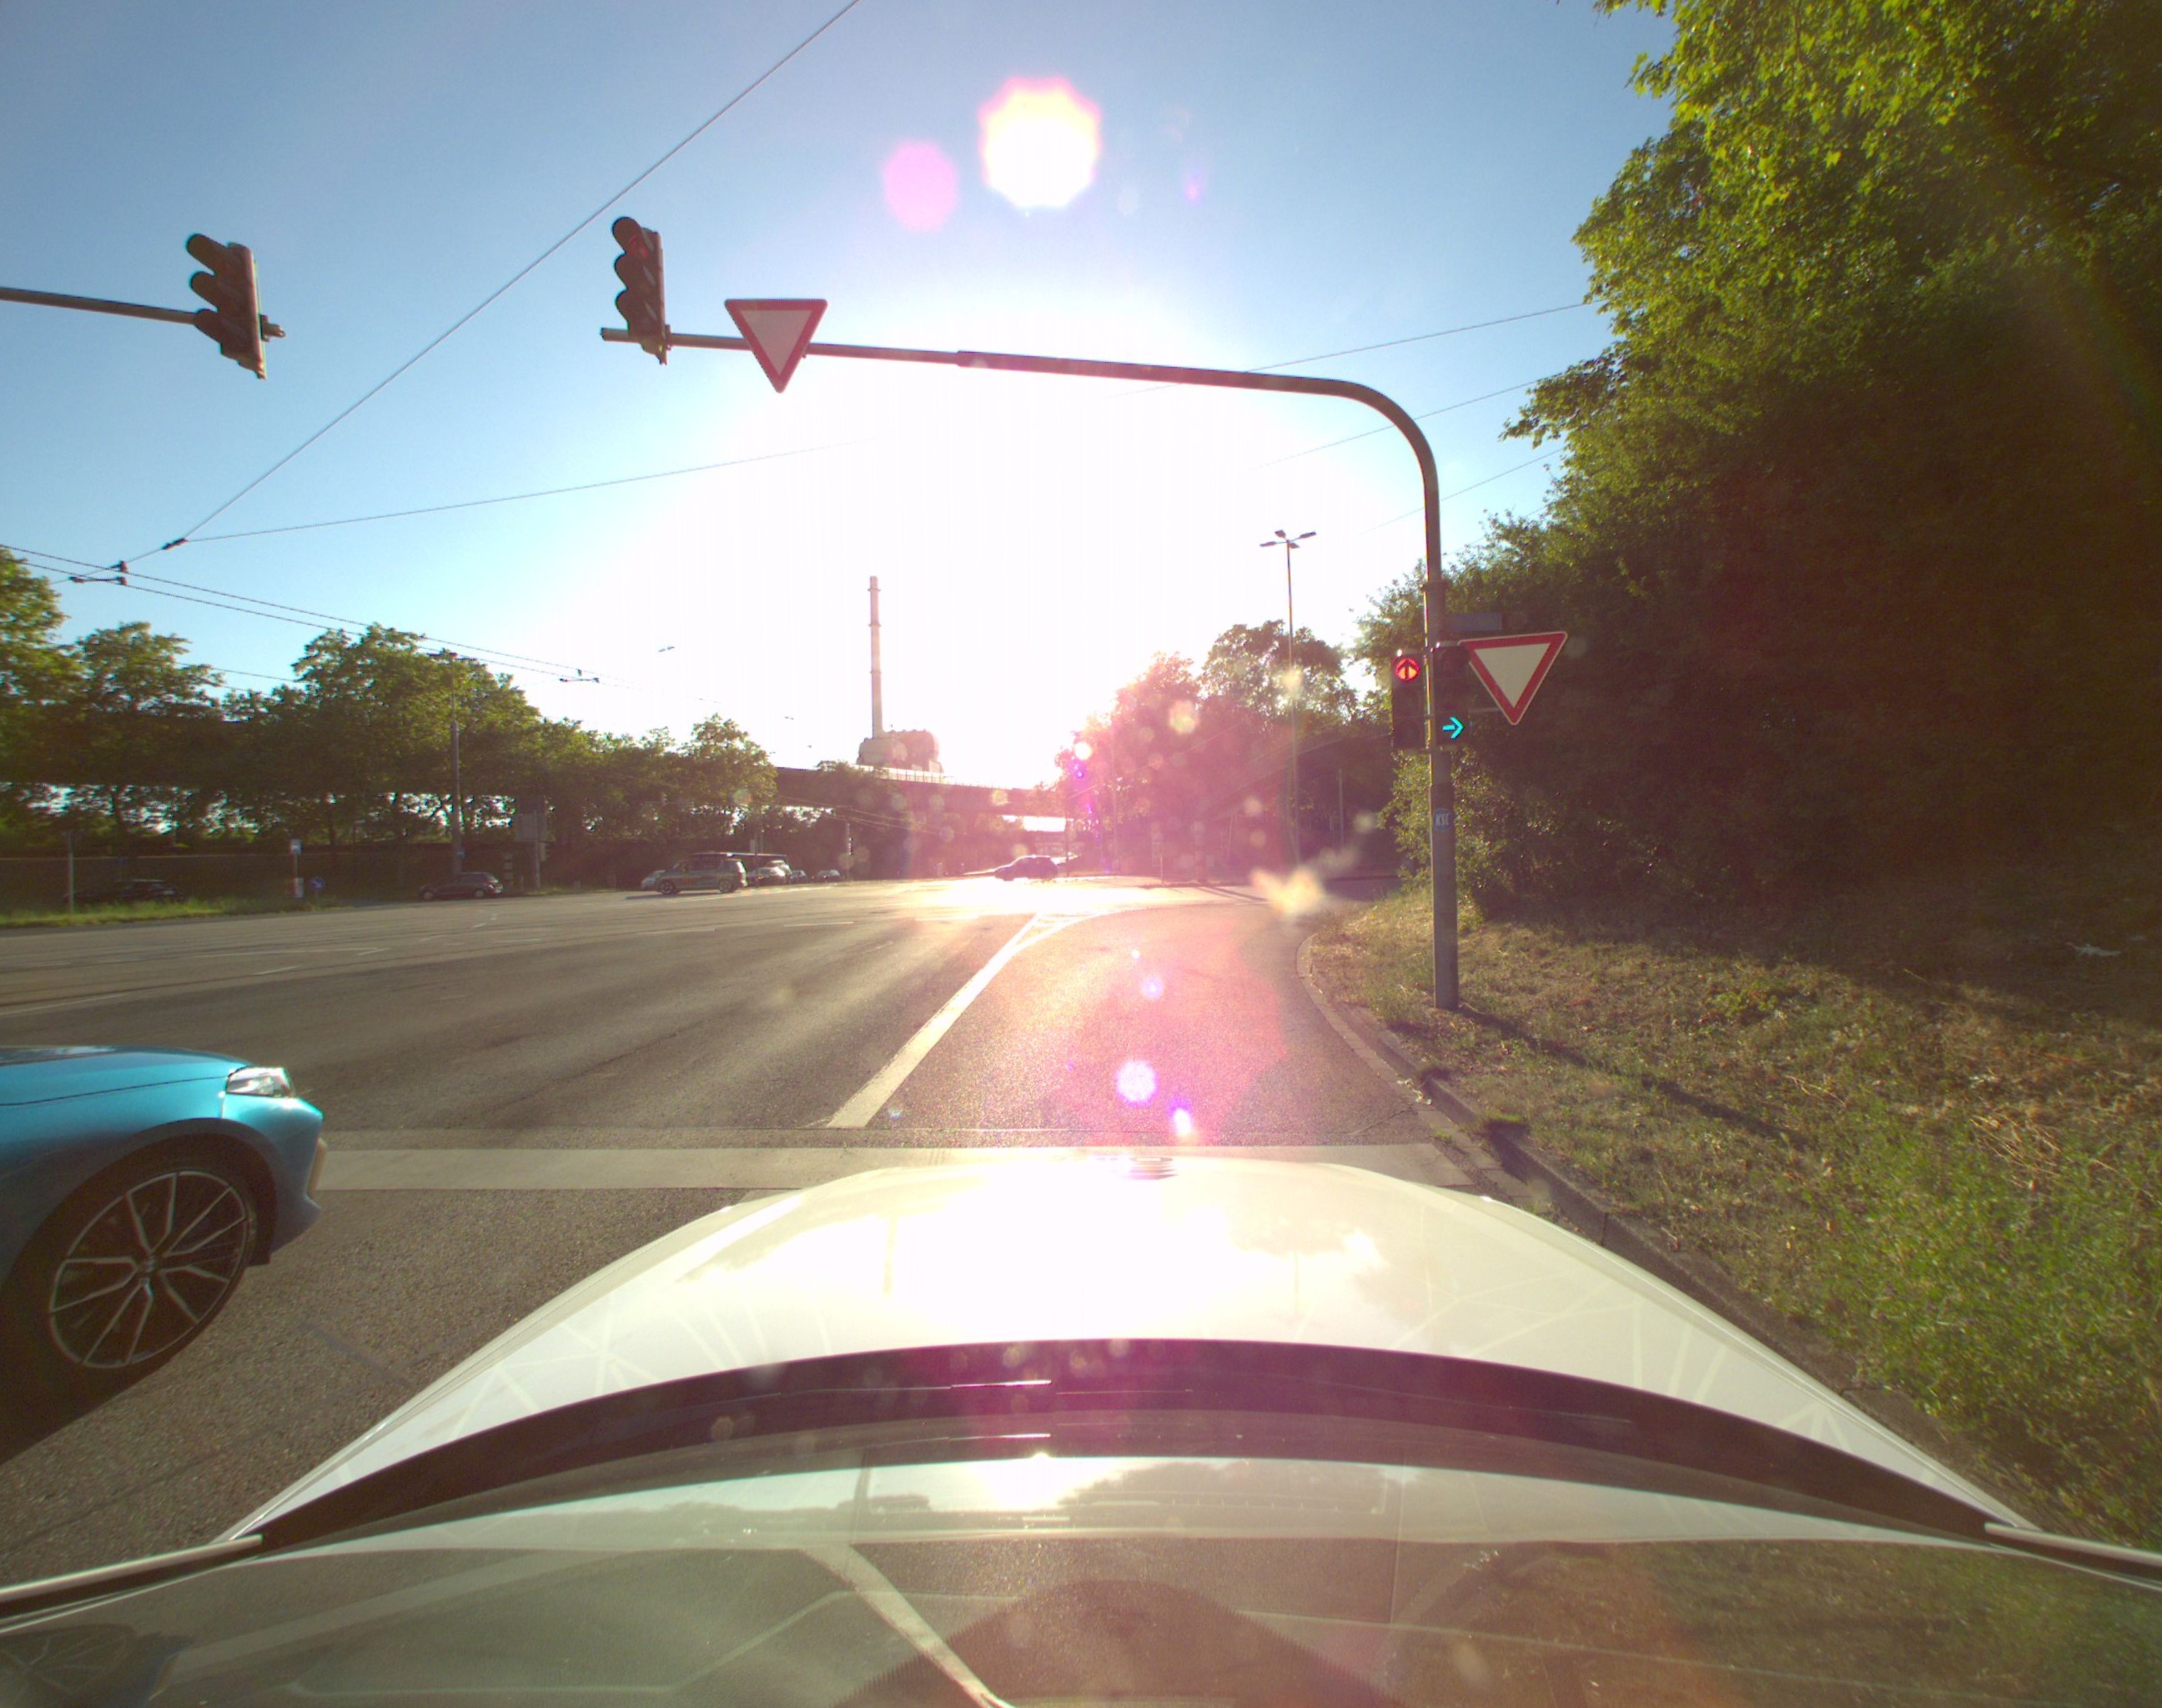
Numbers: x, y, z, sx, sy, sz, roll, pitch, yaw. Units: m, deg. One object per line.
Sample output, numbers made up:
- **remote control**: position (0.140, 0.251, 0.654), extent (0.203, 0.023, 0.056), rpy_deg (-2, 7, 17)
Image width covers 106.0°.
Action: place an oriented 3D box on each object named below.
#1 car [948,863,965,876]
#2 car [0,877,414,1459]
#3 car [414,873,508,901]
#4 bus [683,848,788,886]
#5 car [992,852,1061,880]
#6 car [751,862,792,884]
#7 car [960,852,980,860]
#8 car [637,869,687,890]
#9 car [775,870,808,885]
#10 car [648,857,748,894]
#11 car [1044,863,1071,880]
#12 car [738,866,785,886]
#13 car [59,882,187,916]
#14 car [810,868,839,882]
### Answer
- **car**: position (-16.042, 1.965, 104.866), extent (1.706, 1.652, 4.092), rpy_deg (-1, 0, -2)
- **car**: position (-3.578, 0.811, 1.032), extent (1.779, 1.417, 4.511), rpy_deg (-1, 0, -1)
- **car**: position (-34.435, 1.817, 45.325), extent (3.725, 1.422, 1.689), rpy_deg (-1, 0, -13)
- **bus**: position (-29.542, 1.053, 70.664), extent (2.810, 2.954, 12.866), rpy_deg (-1, 0, 4)
- **car**: position (-3.390, 0.732, 50.068), extent (3.927, 1.559, 1.991), rpy_deg (-1, 0, -14)
- **car**: position (-25.716, 1.565, 67.750), extent (1.704, 1.652, 4.097), rpy_deg (-1, 0, 2)
- **car**: position (-22.635, 0.418, 166.263), extent (1.974, 1.771, 4.025), rpy_deg (-1, -1, 34)
- **car**: position (-30.122, 1.829, 58.627), extent (1.599, 1.354, 3.734), rpy_deg (-1, 0, 0)
- **car**: position (-28.891, 2.319, 81.365), extent (1.693, 1.442, 4.002), rpy_deg (-1, 0, 2)
- **car**: position (-21.136, 1.166, 45.150), extent (4.697, 1.905, 1.990), rpy_deg (-1, 0, -15)
- **car**: position (-2.458, 1.776, 83.967), extent (1.714, 1.652, 4.196), rpy_deg (-1, 0, -16)
- **car**: position (-23.526, 1.590, 60.101), extent (1.704, 1.354, 4.097), rpy_deg (-1, 0, 2)
- **car**: position (-45.984, 2.133, 39.157), extent (3.722, 1.422, 1.690), rpy_deg (-1, 0, -11)
- **car**: position (-27.772, 2.267, 88.118), extent (1.693, 1.442, 4.002), rpy_deg (-1, 0, 2)
